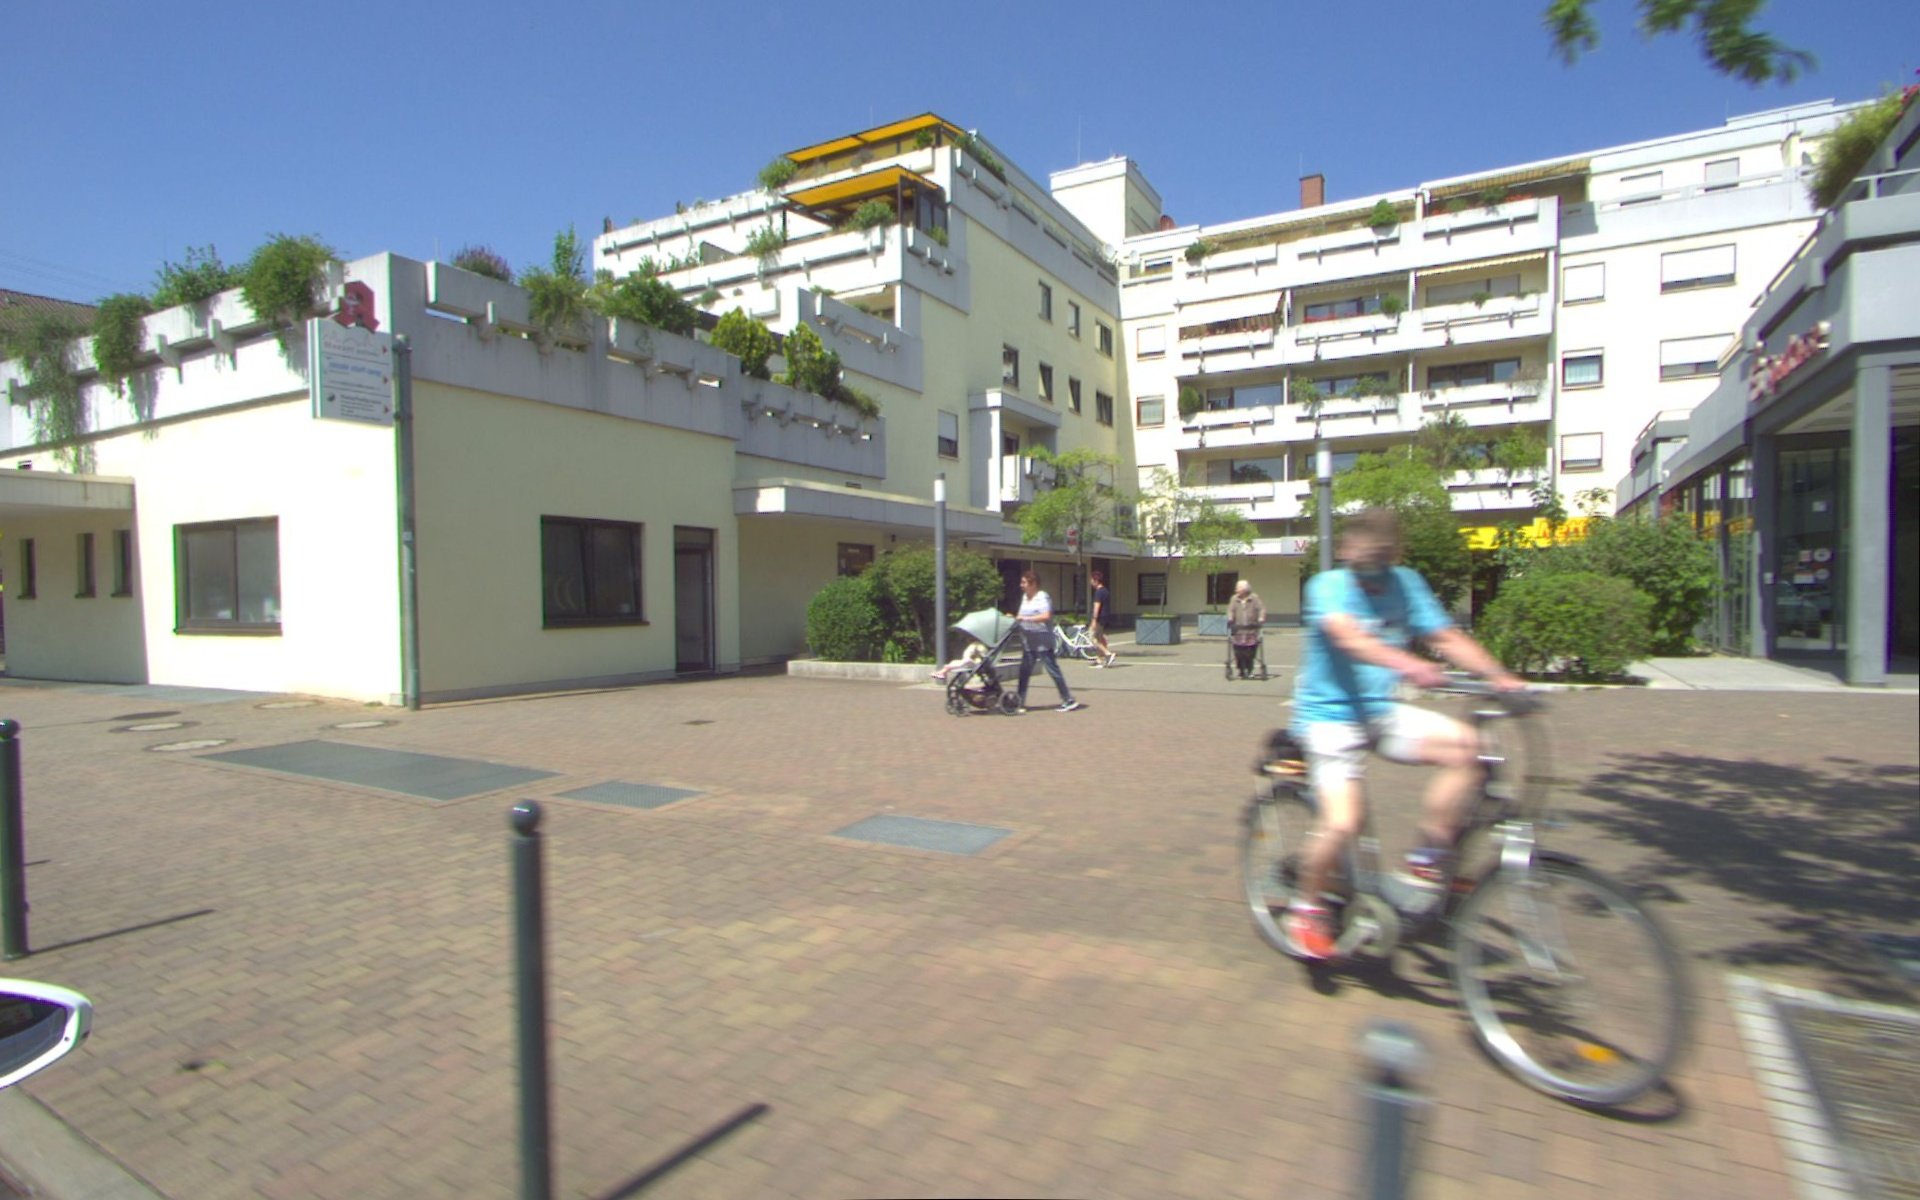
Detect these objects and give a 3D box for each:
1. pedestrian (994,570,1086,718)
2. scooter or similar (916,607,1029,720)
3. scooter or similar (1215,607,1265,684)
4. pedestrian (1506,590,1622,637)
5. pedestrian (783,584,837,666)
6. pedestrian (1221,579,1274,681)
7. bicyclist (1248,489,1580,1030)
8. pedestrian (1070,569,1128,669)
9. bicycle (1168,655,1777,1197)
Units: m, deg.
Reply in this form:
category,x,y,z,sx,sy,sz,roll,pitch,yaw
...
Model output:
category,x,y,z,sx,sy,sz,roll,pitch,yaw
pedestrian,0.865,0.461,10.919,0.787,1.541,0.704,0,1,-20
scooter or similar,0.126,0.643,10.579,1.027,1.121,0.625,-1,1,-25
scooter or similar,4.122,0.653,14.729,0.581,1.089,0.802,0,1,26
pedestrian,17.118,0.380,28.478,2.730,1.291,0.984,0,1,24
pedestrian,-2.839,0.458,18.947,0.800,1.517,0.615,-1,1,-34
pedestrian,4.441,0.449,15.470,0.658,1.517,0.808,0,1,26
bicyclist,1.457,0.448,3.308,0.659,1.548,0.760,-2,2,-18
pedestrian,2.516,0.333,18.121,0.887,1.760,0.702,0,1,23
bicycle,1.460,0.815,3.326,0.664,1.124,1.891,-2,1,-17
